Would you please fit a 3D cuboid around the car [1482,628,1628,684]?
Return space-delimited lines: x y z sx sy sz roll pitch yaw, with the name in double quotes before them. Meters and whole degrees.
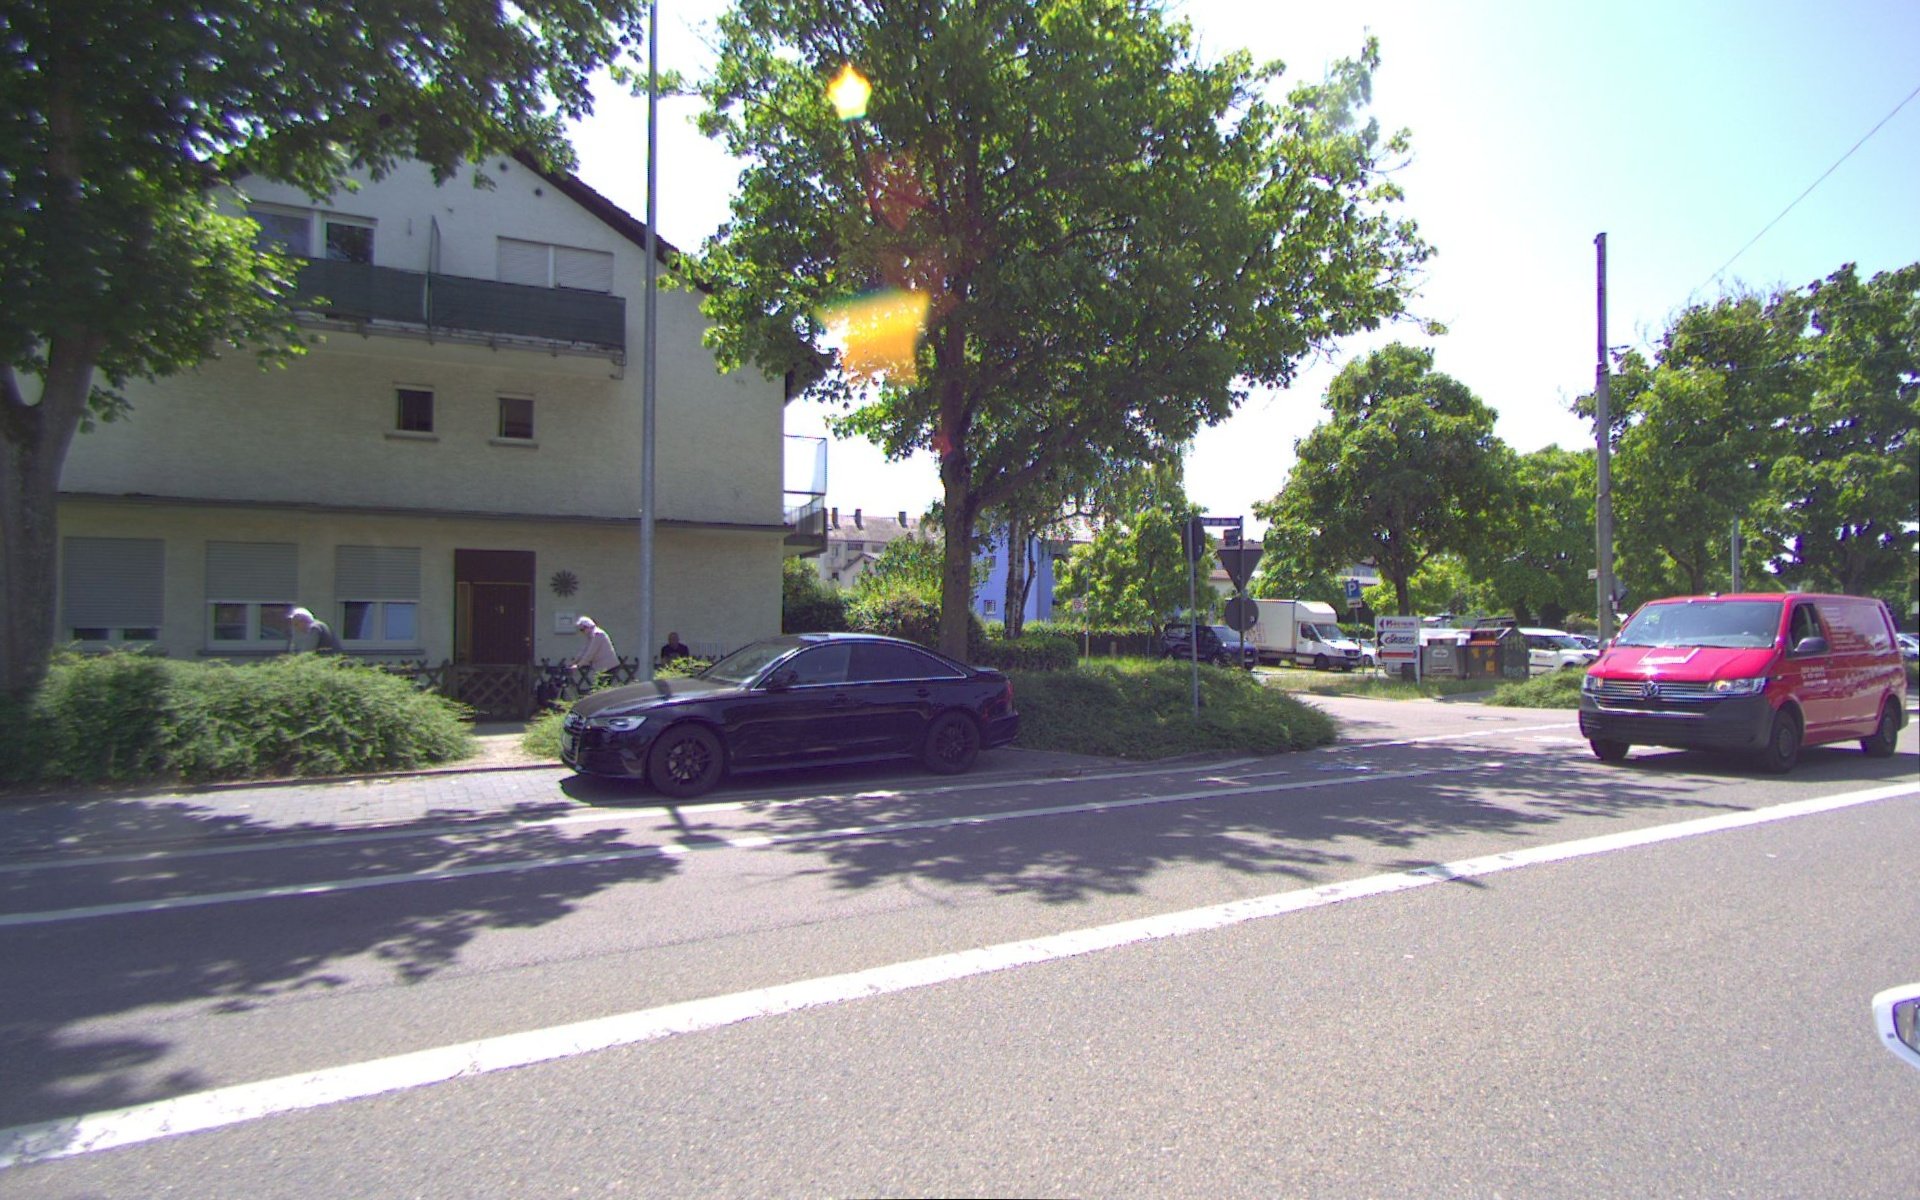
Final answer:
"car" 21.094 1.947 35.795 1.652 1.859 4.251 1 -2 -27

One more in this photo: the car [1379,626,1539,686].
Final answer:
"car" 16.748 1.850 33.905 2.039 1.881 4.421 1 -2 -33

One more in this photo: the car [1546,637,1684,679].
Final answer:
"car" 25.479 2.214 39.199 1.907 1.528 4.107 1 -2 -28

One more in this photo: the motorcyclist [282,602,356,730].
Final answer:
"motorcyclist" -8.012 0.806 12.575 0.716 1.523 0.583 1 1 -29

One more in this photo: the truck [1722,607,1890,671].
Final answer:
"truck" 39.416 1.809 46.985 2.402 2.796 5.555 1 -2 -29

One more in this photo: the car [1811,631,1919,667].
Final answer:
"car" 48.022 2.550 52.812 1.776 1.837 4.695 1 -2 -31

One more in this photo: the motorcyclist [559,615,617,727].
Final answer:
"motorcyclist" -5.240 0.981 14.140 0.654 1.523 0.583 1 1 -29

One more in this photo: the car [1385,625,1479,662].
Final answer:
"car" 24.656 2.243 52.621 1.948 1.844 4.107 2 -2 -30

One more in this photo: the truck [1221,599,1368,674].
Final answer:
"truck" 15.746 1.678 47.810 2.126 3.270 6.941 1 -1 -31

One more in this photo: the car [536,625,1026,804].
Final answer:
"car" -1.767 1.040 10.623 4.758 1.476 1.883 1 -1 -33

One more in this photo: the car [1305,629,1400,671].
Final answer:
"car" 18.506 2.311 47.497 1.628 1.844 4.107 1 -1 -30

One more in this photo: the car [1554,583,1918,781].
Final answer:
"car" 9.338 0.894 11.988 4.766 1.951 1.889 1 -3 -32

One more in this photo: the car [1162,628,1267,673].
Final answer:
"car" 11.193 2.170 44.535 1.915 1.844 4.689 1 -1 -27

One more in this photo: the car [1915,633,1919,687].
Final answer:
"car" 29.912 1.805 29.491 3.680 1.566 1.665 2 -1 -28

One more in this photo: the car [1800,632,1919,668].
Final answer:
"car" 45.929 2.516 51.346 1.836 1.789 4.188 1 -2 -31

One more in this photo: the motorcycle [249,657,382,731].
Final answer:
"motorcycle" -8.034 1.160 12.574 1.354 0.837 0.523 1 1 -30

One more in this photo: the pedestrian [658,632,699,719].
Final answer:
"pedestrian" -5.079 1.341 18.097 0.599 1.530 0.792 1 -2 -23
